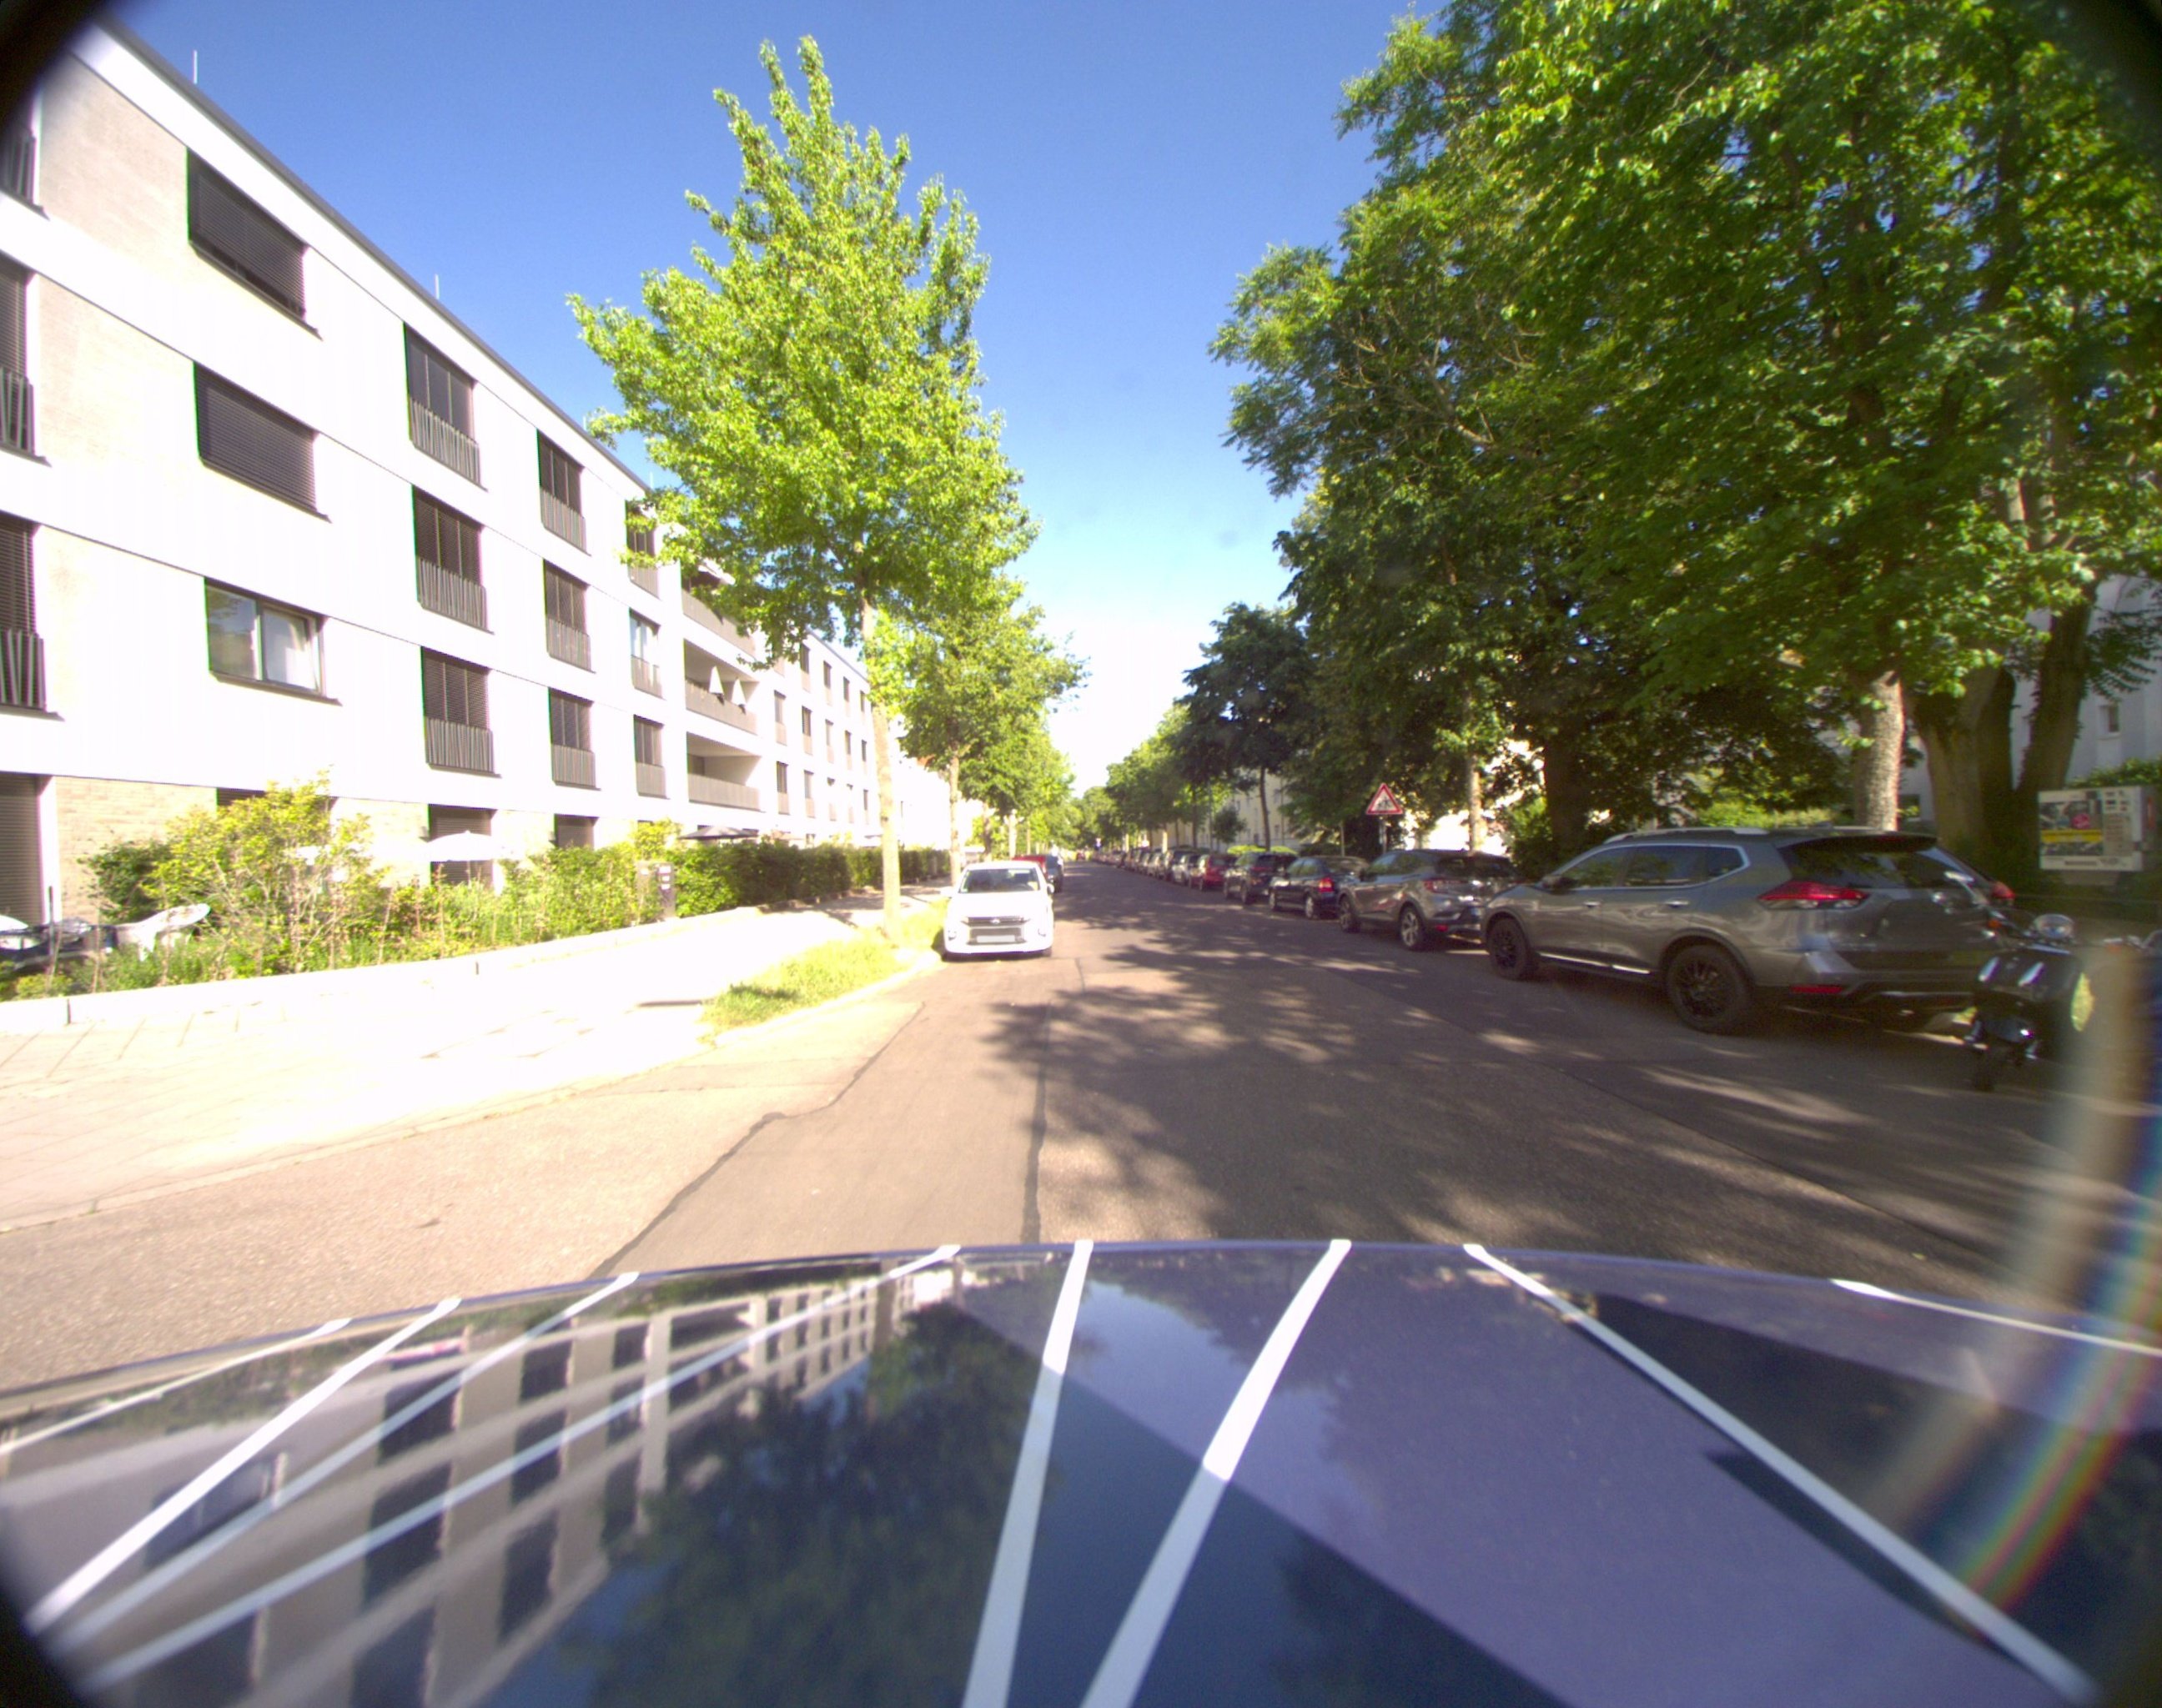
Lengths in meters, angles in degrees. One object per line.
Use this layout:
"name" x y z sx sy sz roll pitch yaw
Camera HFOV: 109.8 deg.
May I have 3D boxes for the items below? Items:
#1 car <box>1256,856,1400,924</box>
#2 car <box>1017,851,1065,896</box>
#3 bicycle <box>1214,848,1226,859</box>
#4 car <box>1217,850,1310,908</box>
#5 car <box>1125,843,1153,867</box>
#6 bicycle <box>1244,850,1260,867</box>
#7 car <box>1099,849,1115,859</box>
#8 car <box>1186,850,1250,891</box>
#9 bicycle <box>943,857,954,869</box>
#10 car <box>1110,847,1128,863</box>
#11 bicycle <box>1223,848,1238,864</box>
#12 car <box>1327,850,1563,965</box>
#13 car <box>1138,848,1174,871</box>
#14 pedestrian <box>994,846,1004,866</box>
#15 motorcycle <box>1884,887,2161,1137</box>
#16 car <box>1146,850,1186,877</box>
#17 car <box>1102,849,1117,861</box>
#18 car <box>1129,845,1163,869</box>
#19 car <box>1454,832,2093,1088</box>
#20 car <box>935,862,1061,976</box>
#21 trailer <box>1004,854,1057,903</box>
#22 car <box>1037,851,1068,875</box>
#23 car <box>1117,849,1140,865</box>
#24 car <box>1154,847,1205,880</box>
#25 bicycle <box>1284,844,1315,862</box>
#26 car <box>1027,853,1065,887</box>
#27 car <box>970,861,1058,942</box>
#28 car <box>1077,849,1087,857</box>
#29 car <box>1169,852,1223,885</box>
"car" 5.693 0.754 18.149 1.790 1.344 4.480 -1 1 -3
"car" -1.672 0.779 32.540 1.797 1.634 4.817 -4 1 -2
"bicycle" 11.449 -0.023 62.659 0.596 0.911 1.903 -1 1 -3
"car" 5.474 0.690 23.356 1.710 1.568 4.481 -1 1 -1
"car" 4.651 0.078 61.574 1.798 1.839 4.865 -1 1 -1
"bicycle" 11.217 0.267 49.912 0.573 1.055 1.933 -2 1 -1
"car" 3.688 -0.005 109.375 1.806 1.470 3.998 -2 1 -4
"car" 5.409 0.616 30.500 1.658 1.496 4.067 -1 1 -3
"bicycle" -10.479 0.724 60.244 0.564 0.889 1.609 -2 1 -1
"car" 4.192 0.053 84.237 1.864 1.718 3.999 0 1 0
"bicycle" 11.134 0.123 56.565 0.596 1.183 2.260 -1 1 -3
"car" 5.756 0.731 12.719 1.773 1.522 4.418 -2 1 -1
"car" 4.937 0.351 50.761 1.798 1.443 4.488 -1 1 -2
"pedestrian" -8.349 0.193 77.423 0.907 2.002 1.005 -1 1 -1
"motorcycle" 6.254 0.892 4.540 1.957 1.324 0.787 -1 1 6
"car" 5.064 0.534 45.743 1.711 1.472 4.488 -1 1 -3
"car" 3.691 0.128 97.914 1.606 1.382 3.811 -2 1 -2
"car" 4.783 0.222 56.458 1.799 1.676 4.524 -1 1 -5
"car" 5.827 0.685 7.483 1.772 1.678 4.812 -1 1 -2
"car" -1.304 0.952 12.907 1.737 1.478 4.008 -2 1 -3
"trailer" -1.807 0.861 27.906 1.578 1.569 3.191 -4 1 1
"car" -2.025 0.614 52.985 1.786 1.509 4.684 -3 1 -5
"car" 4.495 0.292 72.466 1.780 1.462 4.063 1 0 -1
"car" 5.157 0.452 40.439 1.847 1.647 5.086 -1 1 -2
"bicycle" 15.524 -0.063 53.973 1.957 1.218 0.776 -2 1 -4
"car" -1.745 0.772 38.716 1.722 1.508 4.344 -2 1 -1
"car" -1.449 0.978 17.476 1.674 1.442 4.177 -4 1 -3
"car" 0.173 -0.236 135.805 1.665 1.456 3.447 -1 1 0
"car" 5.242 0.625 35.165 1.658 1.365 4.187 -1 1 -3
